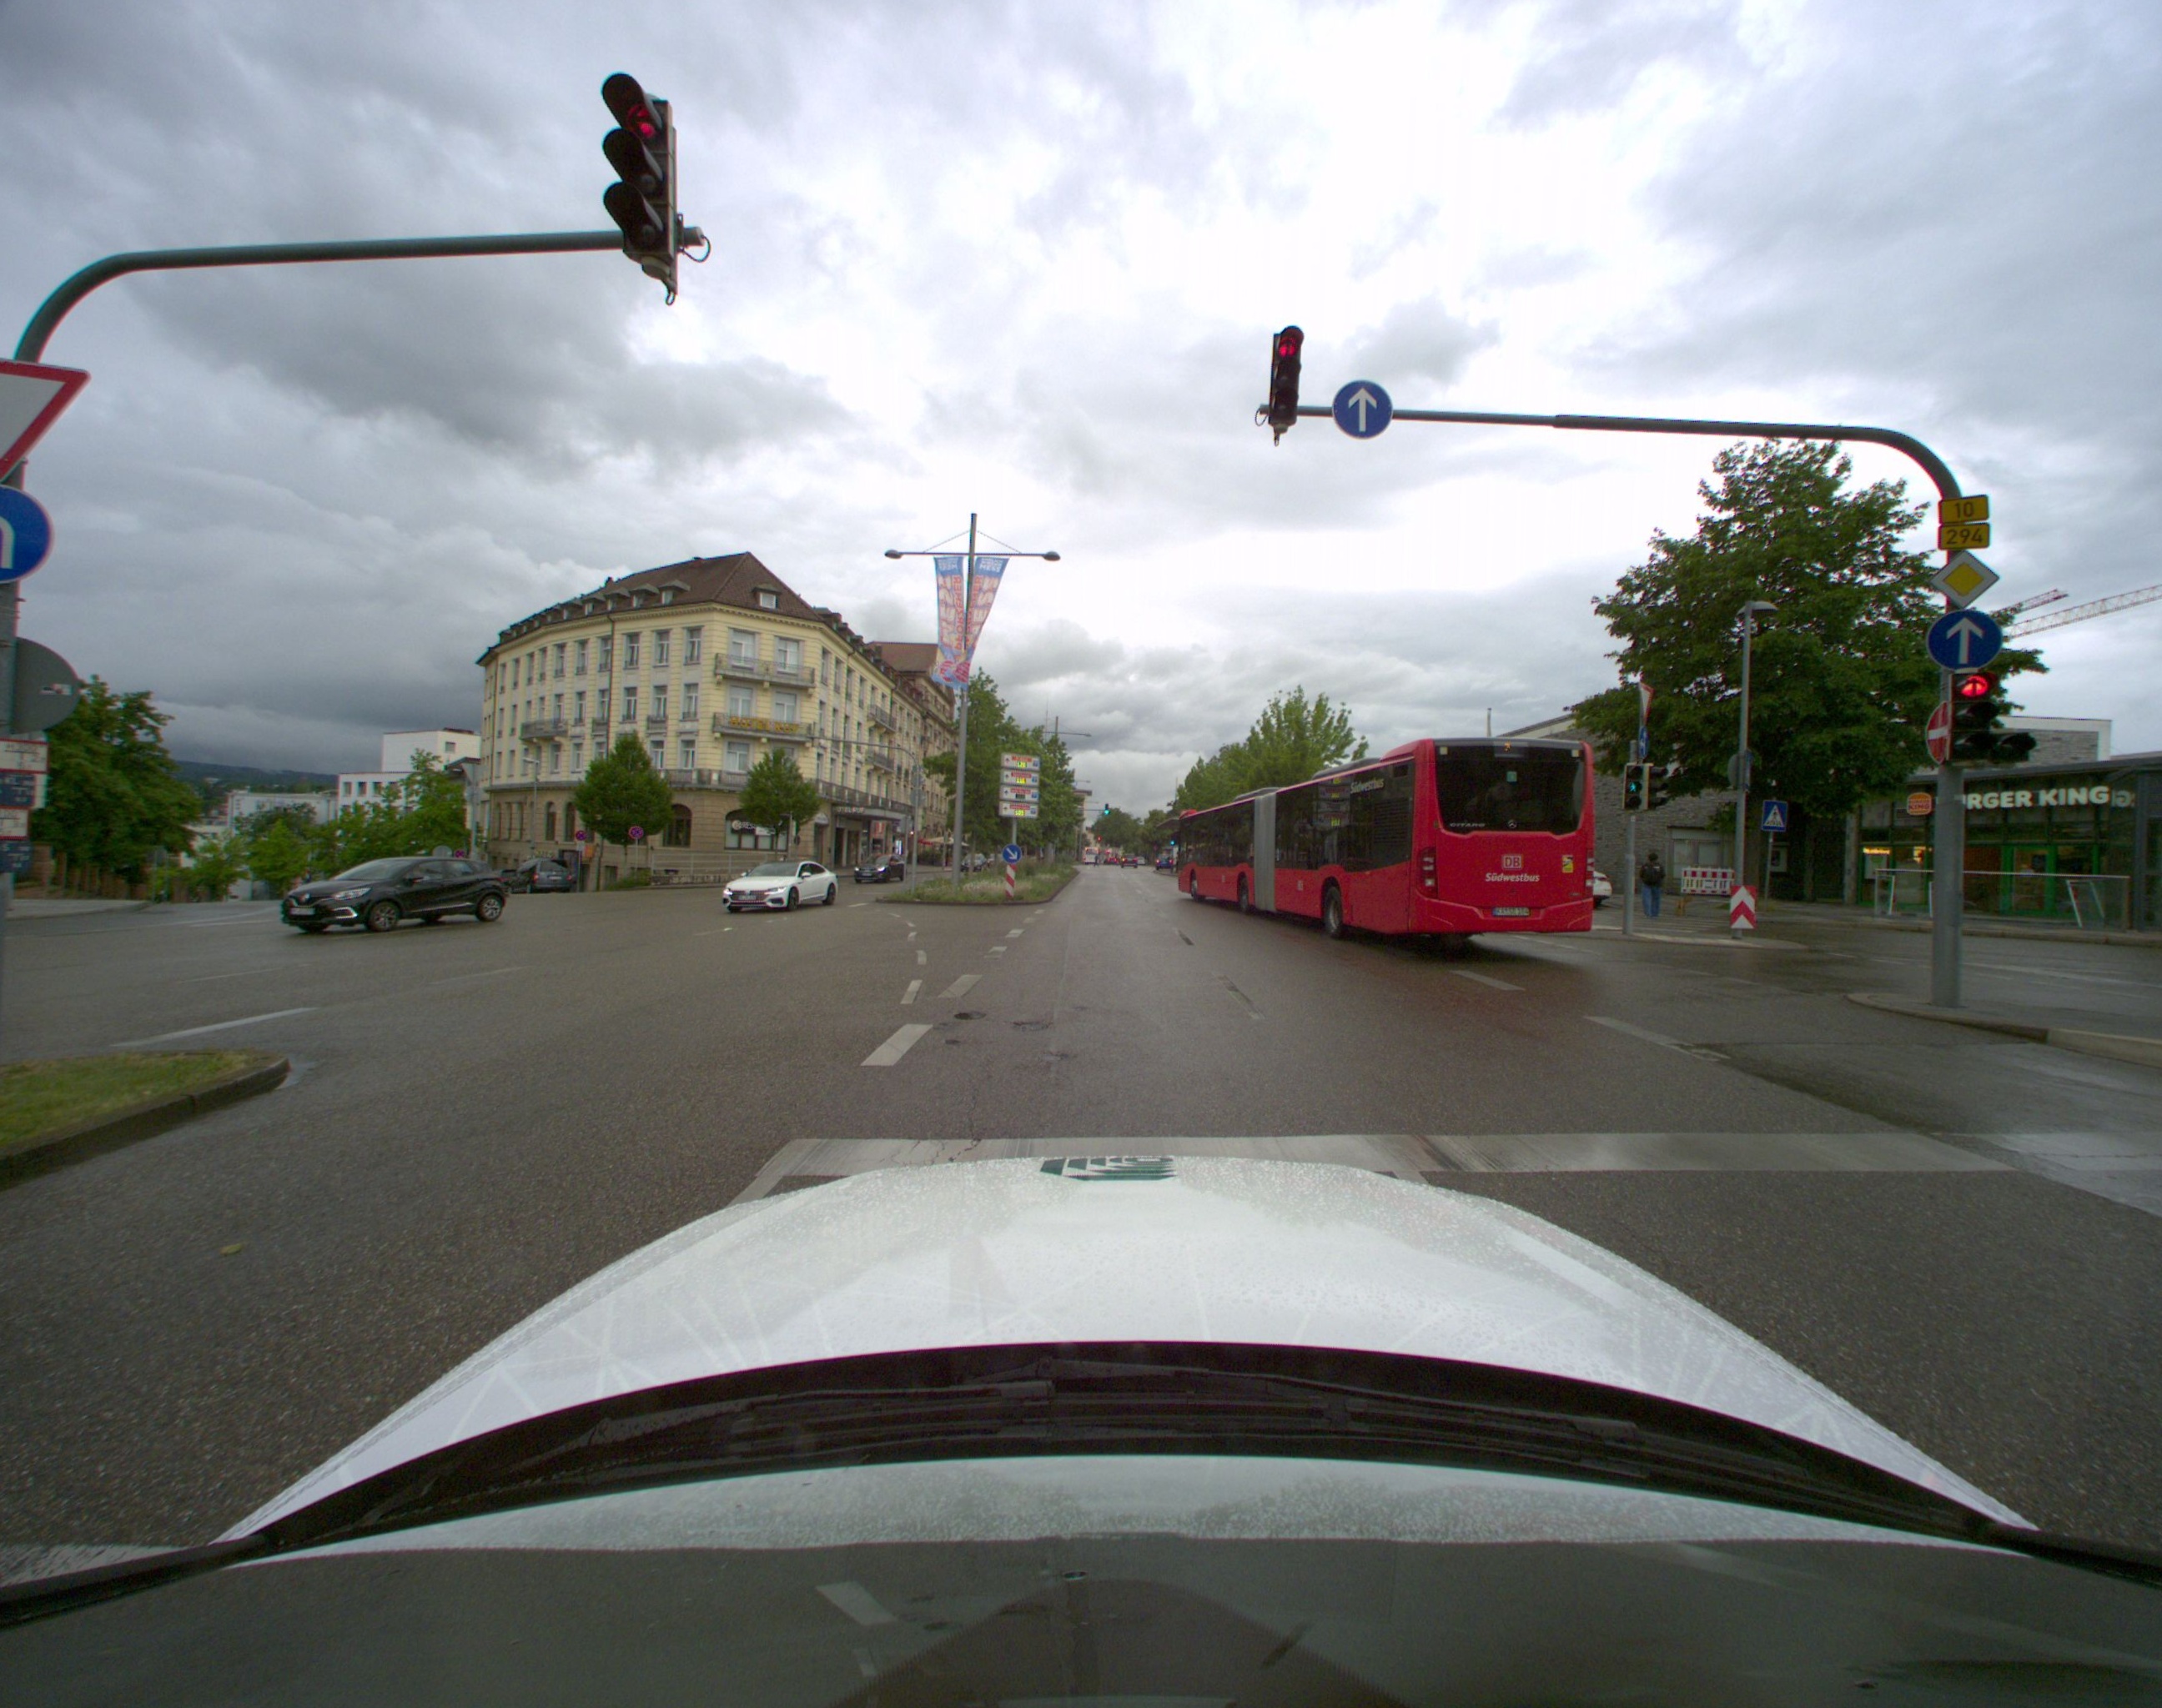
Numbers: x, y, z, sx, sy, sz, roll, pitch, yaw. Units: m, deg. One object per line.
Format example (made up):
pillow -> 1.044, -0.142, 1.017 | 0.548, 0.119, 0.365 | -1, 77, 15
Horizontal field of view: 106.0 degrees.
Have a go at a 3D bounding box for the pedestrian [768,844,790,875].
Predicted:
pedestrian -> -18.105, 0.330, 48.867 | 0.860, 1.878, 1.023 | 0, 0, 1

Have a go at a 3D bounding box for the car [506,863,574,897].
car -> -27.099, 1.275, 40.761 | 3.949, 1.568, 1.812 | 0, 0, 41

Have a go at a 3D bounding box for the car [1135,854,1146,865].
car -> 10.859, 0.964, 148.071 | 1.781, 1.860, 4.001 | 0, 0, 2

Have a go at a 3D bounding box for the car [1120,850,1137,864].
car -> 6.010, 0.397, 103.849 | 1.986, 1.806, 4.691 | 0, 0, 2

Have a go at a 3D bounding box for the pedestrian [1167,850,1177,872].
pedestrian -> 7.435, 0.604, 66.544 | 0.717, 1.791, 0.663 | 0, 0, -10

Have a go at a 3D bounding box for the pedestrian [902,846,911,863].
pedestrian -> -16.114, 0.045, 75.174 | 0.666, 1.510, 0.513 | 0, -1, -36

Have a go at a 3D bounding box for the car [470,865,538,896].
car -> -31.967, 1.419, 45.101 | 3.948, 1.640, 2.013 | -1, -1, 37

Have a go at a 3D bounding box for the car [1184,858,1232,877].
car -> 12.827, 1.394, 82.126 | 4.348, 1.857, 1.988 | 0, 0, -18

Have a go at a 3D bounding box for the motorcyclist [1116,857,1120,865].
motorcyclist -> 6.117, 1.192, 134.807 | 0.761, 1.331, 0.867 | 0, 0, 2

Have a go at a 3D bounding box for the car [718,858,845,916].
car -> -8.681, 0.895, 24.097 | 1.717, 1.381, 4.864 | 1, 2, 3

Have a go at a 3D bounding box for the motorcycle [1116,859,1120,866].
motorcycle -> 6.112, 1.364, 134.703 | 0.763, 1.077, 2.176 | 0, 0, 2

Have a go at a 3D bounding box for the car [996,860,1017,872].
car -> -8.694, 1.419, 95.047 | 1.747, 1.369, 4.065 | 0, 0, 4

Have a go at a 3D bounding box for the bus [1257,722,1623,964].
bus -> 5.653, -0.138, 14.851 | 2.737, 3.174, 8.110 | 0, 0, -3

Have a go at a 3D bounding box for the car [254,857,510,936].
car -> -15.040, 0.835, 17.879 | 1.761, 1.531, 4.088 | 0, 0, 8

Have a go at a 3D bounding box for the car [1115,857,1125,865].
car -> 7.245, 1.257, 152.073 | 1.702, 1.448, 4.001 | 0, 0, 2

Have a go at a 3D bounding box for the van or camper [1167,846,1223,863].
van or camper -> 14.412, 0.094, 102.765 | 6.787, 2.014, 2.366 | 0, -1, -25

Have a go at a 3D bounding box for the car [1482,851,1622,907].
car -> 14.647, 0.725, 25.644 | 1.768, 1.589, 4.615 | 0, 0, 0

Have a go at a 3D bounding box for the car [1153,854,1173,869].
car -> 8.565, 0.765, 85.364 | 1.809, 1.530, 4.001 | 0, 0, 2

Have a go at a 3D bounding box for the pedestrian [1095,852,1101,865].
pedestrian -> 2.111, 0.549, 100.427 | 0.754, 1.701, 0.561 | 0, 0, 8

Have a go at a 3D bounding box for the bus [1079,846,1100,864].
bus -> 1.719, 0.138, 156.116 | 3.747, 3.209, 15.528 | 0, 0, 1

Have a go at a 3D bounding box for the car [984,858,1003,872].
car -> -8.626, 1.074, 80.300 | 1.753, 1.369, 4.051 | 0, 0, -6

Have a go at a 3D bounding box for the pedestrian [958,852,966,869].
pedestrian -> -11.754, 0.639, 80.432 | 0.672, 1.701, 0.634 | 0, 0, 1

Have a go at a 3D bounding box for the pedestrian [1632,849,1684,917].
pedestrian -> 14.569, 0.726, 20.575 | 0.805, 1.674, 0.713 | 0, 0, 1

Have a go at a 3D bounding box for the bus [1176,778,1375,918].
bus -> 5.044, -0.132, 23.699 | 2.737, 3.174, 10.180 | 0, 0, -4

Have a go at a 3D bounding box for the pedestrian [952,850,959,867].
pedestrian -> -12.398, 0.444, 80.390 | 0.573, 1.732, 0.609 | 0, 0, 1

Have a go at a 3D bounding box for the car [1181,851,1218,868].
car -> 14.030, 0.626, 96.493 | 3.998, 2.014, 1.988 | 0, 0, -18

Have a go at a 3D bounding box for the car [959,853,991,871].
car -> -8.603, 0.626, 66.286 | 1.747, 1.441, 4.064 | 0, 0, 4

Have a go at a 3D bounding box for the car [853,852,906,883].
car -> -10.804, 0.706, 43.920 | 1.625, 1.476, 4.028 | -3, 0, 2

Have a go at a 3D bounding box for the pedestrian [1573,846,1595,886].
pedestrian -> 20.629, 0.477, 33.405 | 0.558, 1.633, 0.566 | 0, 0, 0
